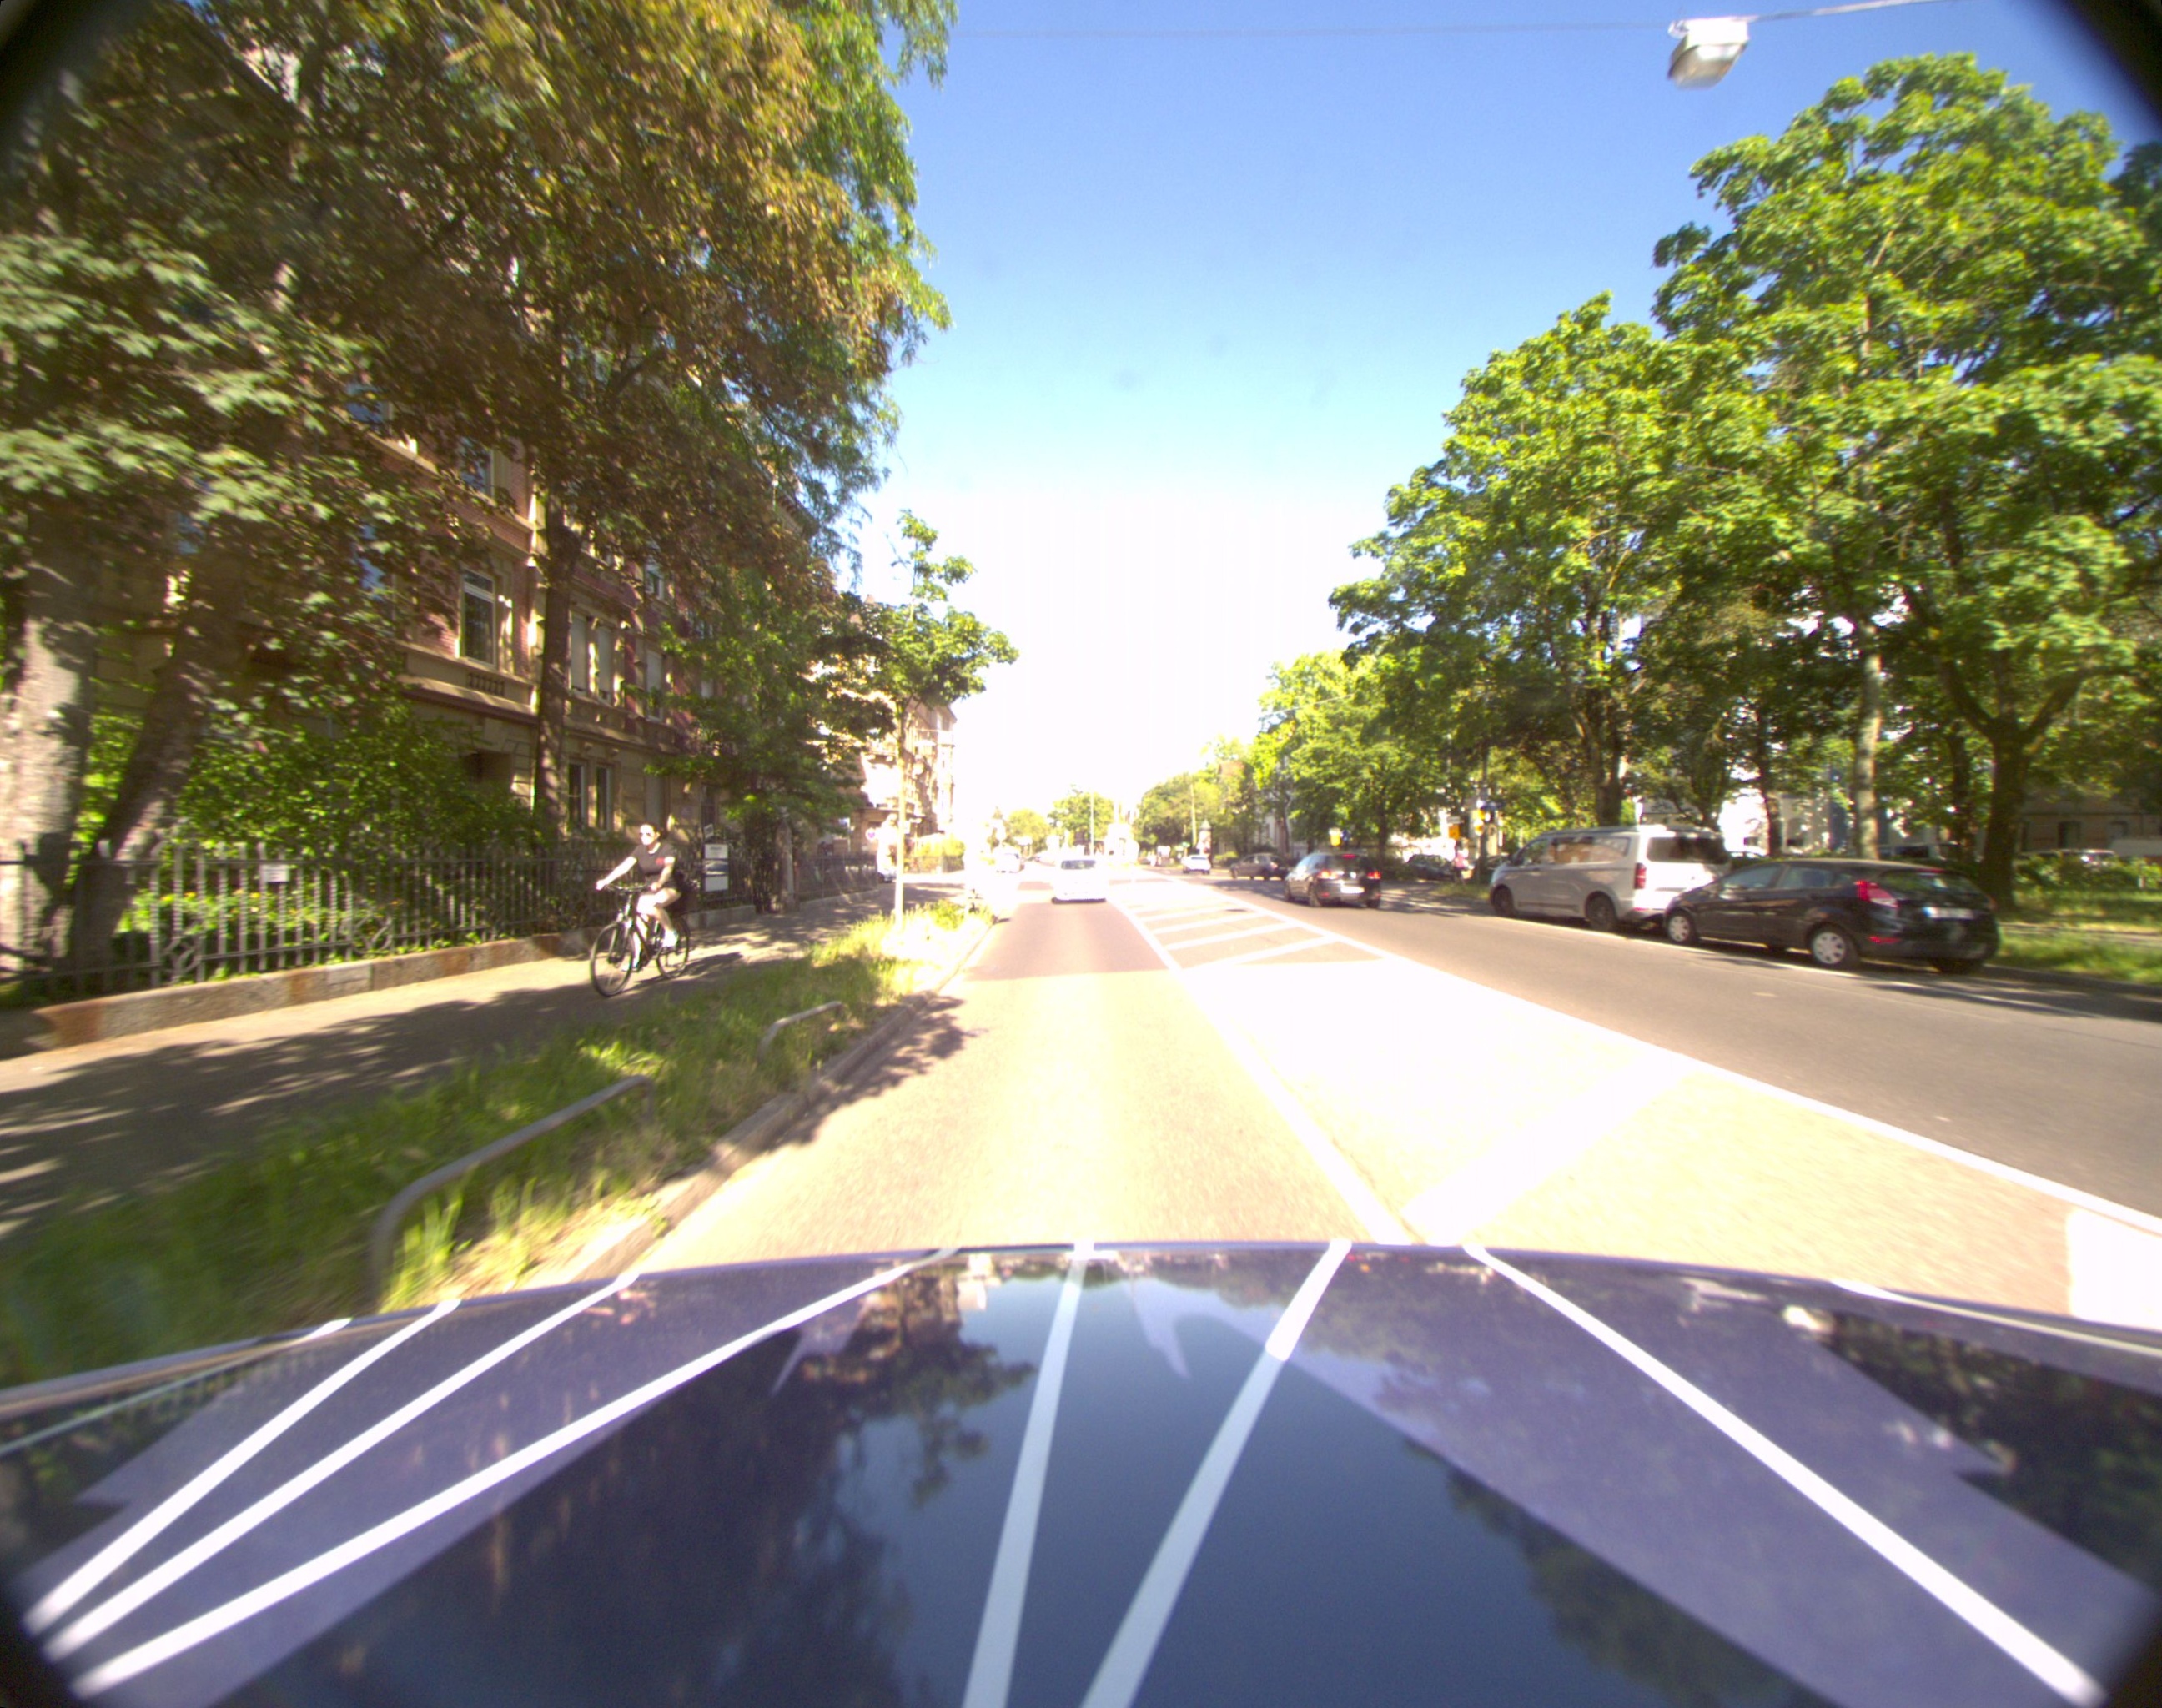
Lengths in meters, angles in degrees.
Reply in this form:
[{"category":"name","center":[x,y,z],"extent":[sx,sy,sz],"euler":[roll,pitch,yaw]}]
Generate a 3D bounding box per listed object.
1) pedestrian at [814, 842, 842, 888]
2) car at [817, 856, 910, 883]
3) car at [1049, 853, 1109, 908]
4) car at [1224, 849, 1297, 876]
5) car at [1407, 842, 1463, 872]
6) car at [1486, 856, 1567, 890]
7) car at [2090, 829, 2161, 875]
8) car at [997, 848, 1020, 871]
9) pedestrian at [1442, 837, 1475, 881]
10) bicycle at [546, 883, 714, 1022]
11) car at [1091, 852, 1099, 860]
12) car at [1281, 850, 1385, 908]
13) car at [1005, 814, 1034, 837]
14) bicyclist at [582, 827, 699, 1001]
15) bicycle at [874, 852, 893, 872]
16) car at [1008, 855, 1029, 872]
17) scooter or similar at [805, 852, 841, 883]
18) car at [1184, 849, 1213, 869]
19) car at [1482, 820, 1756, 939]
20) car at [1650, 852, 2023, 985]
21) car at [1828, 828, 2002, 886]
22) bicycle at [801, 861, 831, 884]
[{"category":"pedestrian","center":[-10.763,0.444,32.335],"extent":[0.764,1.883,0.694],"euler":[2,7,44]},{"category":"car","center":[-11.809,0.830,41.446],"extent":[4.417,1.409,2.047],"euler":[1,1,2]},{"category":"car","center":[0.008,0.795,24.700],"extent":[1.652,1.449,3.896],"euler":[-5,1,3]},{"category":"car","center":[10.384,0.451,44.144],"extent":[1.848,1.482,3.770],"euler":[0,1,-40]},{"category":"car","center":[20.490,0.152,44.196],"extent":[1.891,1.679,4.703],"euler":[0,0,11]},{"category":"car","center":[25.027,1.019,42.902],"extent":[1.893,1.679,4.699],"euler":[0,2,2]},{"category":"car","center":[62.592,-0.110,43.957],"extent":[1.893,2.608,4.917],"euler":[0,0,1]},{"category":"car","center":[-5.936,0.421,62.689],"extent":[1.694,1.862,3.560],"euler":[0,0,-3]},{"category":"pedestrian","center":[15.302,0.214,30.787],"extent":[0.872,1.745,0.819],"euler":[-1,1,-9]},{"category":"bicycle","center":[-4.572,0.942,7.876],"extent":[0.654,1.169,1.842],"euler":[3,0,-2]},{"category":"car","center":[2.924,0.415,158.465],"extent":[1.594,1.420,3.715],"euler":[1,1,-3]},{"category":"car","center":[6.882,0.618,21.159],"extent":[1.596,1.441,4.133],"euler":[0,0,1]},{"category":"car","center":[-4.284,-1.952,53.263],"extent":[1.847,1.432,4.104],"euler":[2,0,-3]},{"category":"bicyclist","center":[-4.552,0.592,7.912],"extent":[0.647,1.685,0.889],"euler":[3,0,-2]},{"category":"bicycle","center":[-12.135,0.495,46.713],"extent":[0.735,1.128,2.017],"euler":[-1,2,-4]},{"category":"car","center":[-6.728,0.998,82.576],"extent":[1.893,1.679,4.699],"euler":[-1,0,0]},{"category":"scooter or similar","center":[-10.904,0.574,32.171],"extent":[0.759,1.256,1.411],"euler":[2,1,17]},{"category":"car","center":[9.120,0.376,59.122],"extent":[1.808,1.485,4.714],"euler":[-1,0,3]},{"category":"car","center":[10.693,0.438,15.716],"extent":[1.989,2.024,4.874],"euler":[2,0,-3]},{"category":"car","center":[10.408,0.762,10.962],"extent":[1.467,1.493,3.958],"euler":[1,1,1]},{"category":"car","center":[34.500,0.116,31.695],"extent":[1.893,2.233,4.917],"euler":[0,0,2]},{"category":"bicycle","center":[-13.290,0.915,38.180],"extent":[0.584,1.128,2.020],"euler":[0,0,6]}]
